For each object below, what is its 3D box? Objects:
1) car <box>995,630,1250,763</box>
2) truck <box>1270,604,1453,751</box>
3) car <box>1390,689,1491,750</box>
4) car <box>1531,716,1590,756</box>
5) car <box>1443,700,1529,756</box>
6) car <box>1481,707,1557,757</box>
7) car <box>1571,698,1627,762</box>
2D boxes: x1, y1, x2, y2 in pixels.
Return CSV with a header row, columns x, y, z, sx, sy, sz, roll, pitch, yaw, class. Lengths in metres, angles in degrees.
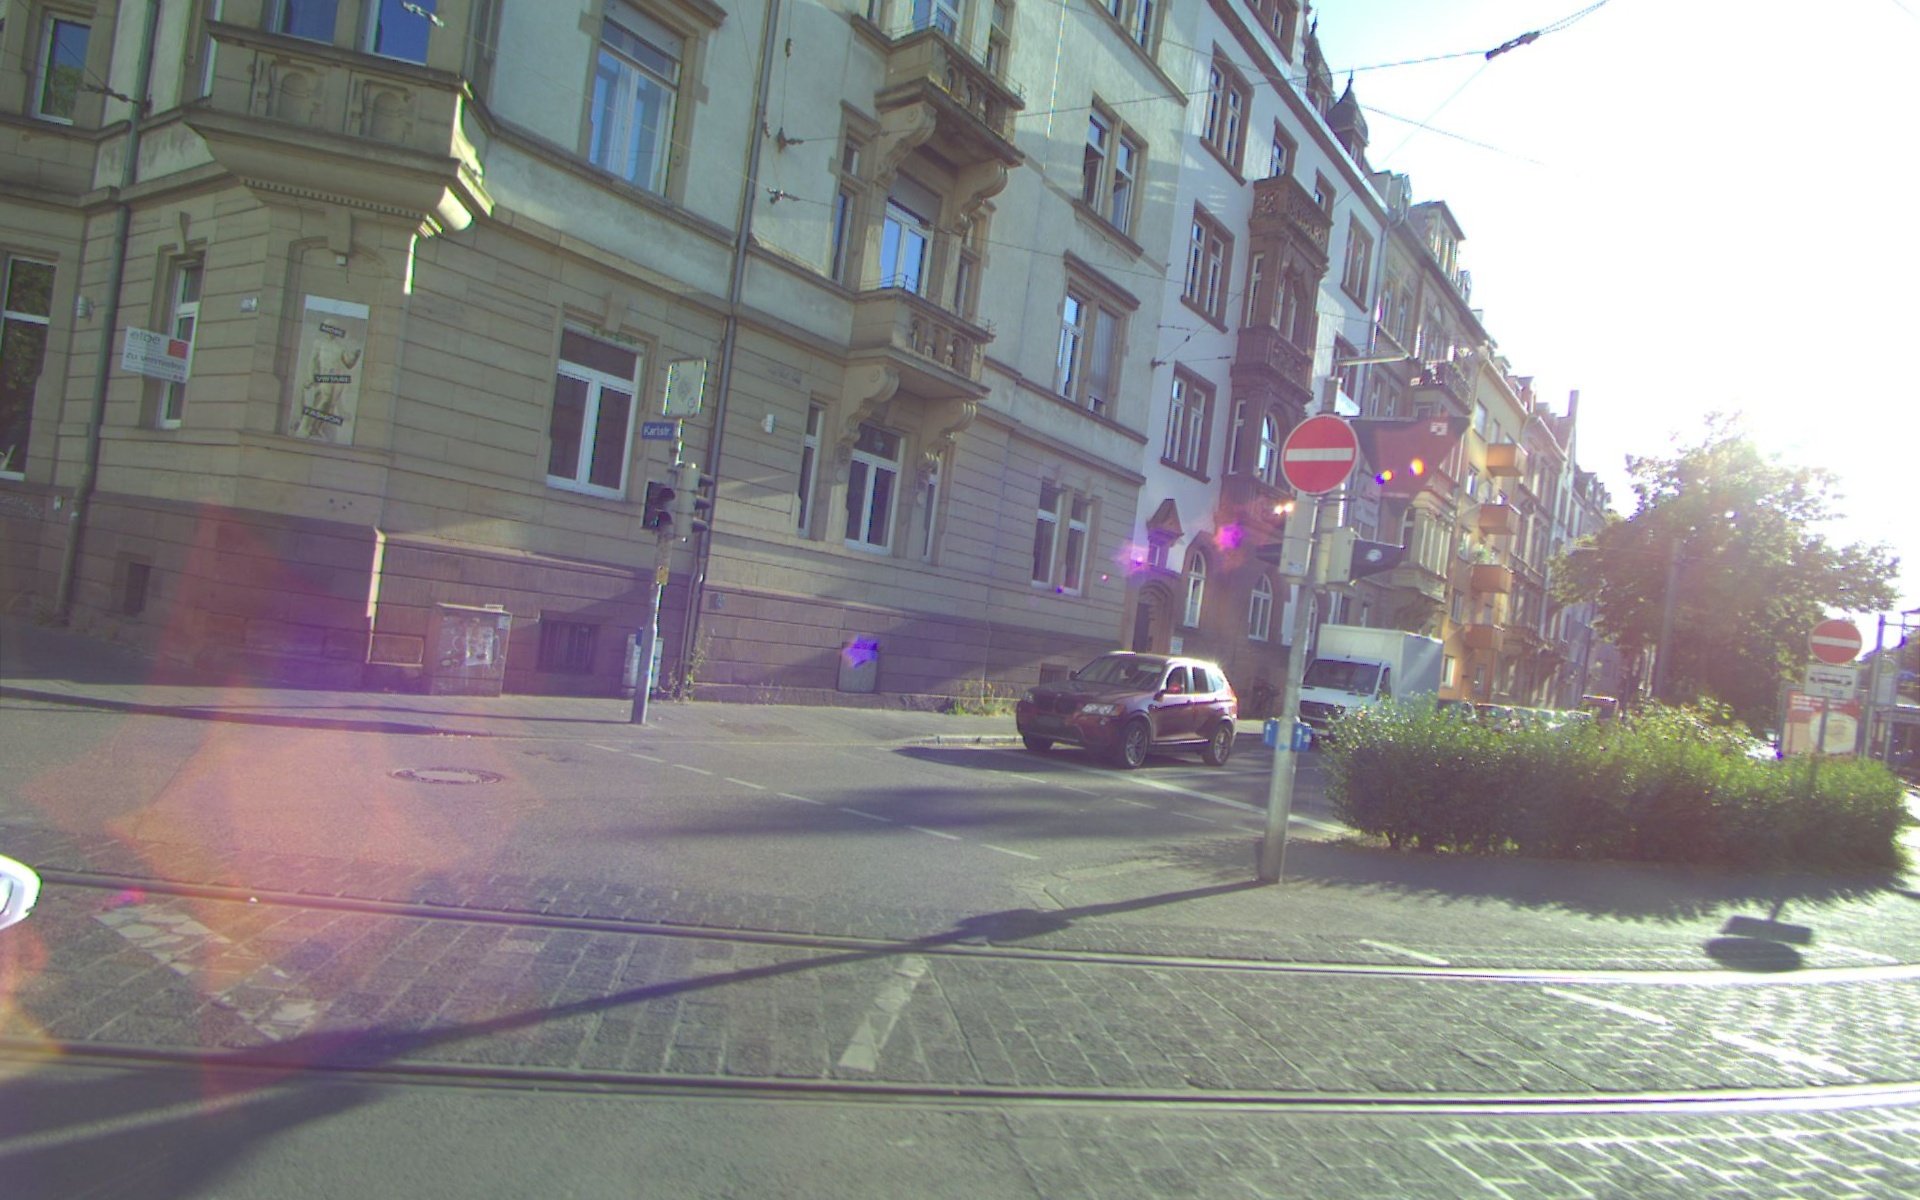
x,y,z,sx,sy,sz,roll,pitch,yaw,class
2.685,1.574,15.815,1.918,1.650,4.257,5,-4,41,car
10.715,2.198,26.240,2.295,3.114,8.067,5,-4,36,truck
15.977,3.988,33.318,1.918,1.649,4.257,3,-5,41,car
31.640,7.195,52.934,1.918,1.790,4.257,3,-5,41,car
20.104,4.900,38.356,1.918,1.790,4.257,3,-5,41,car
23.382,5.533,42.013,1.918,1.790,4.257,3,-5,41,car
38.557,7.891,60.632,1.918,3.507,5.680,3,-5,40,car
